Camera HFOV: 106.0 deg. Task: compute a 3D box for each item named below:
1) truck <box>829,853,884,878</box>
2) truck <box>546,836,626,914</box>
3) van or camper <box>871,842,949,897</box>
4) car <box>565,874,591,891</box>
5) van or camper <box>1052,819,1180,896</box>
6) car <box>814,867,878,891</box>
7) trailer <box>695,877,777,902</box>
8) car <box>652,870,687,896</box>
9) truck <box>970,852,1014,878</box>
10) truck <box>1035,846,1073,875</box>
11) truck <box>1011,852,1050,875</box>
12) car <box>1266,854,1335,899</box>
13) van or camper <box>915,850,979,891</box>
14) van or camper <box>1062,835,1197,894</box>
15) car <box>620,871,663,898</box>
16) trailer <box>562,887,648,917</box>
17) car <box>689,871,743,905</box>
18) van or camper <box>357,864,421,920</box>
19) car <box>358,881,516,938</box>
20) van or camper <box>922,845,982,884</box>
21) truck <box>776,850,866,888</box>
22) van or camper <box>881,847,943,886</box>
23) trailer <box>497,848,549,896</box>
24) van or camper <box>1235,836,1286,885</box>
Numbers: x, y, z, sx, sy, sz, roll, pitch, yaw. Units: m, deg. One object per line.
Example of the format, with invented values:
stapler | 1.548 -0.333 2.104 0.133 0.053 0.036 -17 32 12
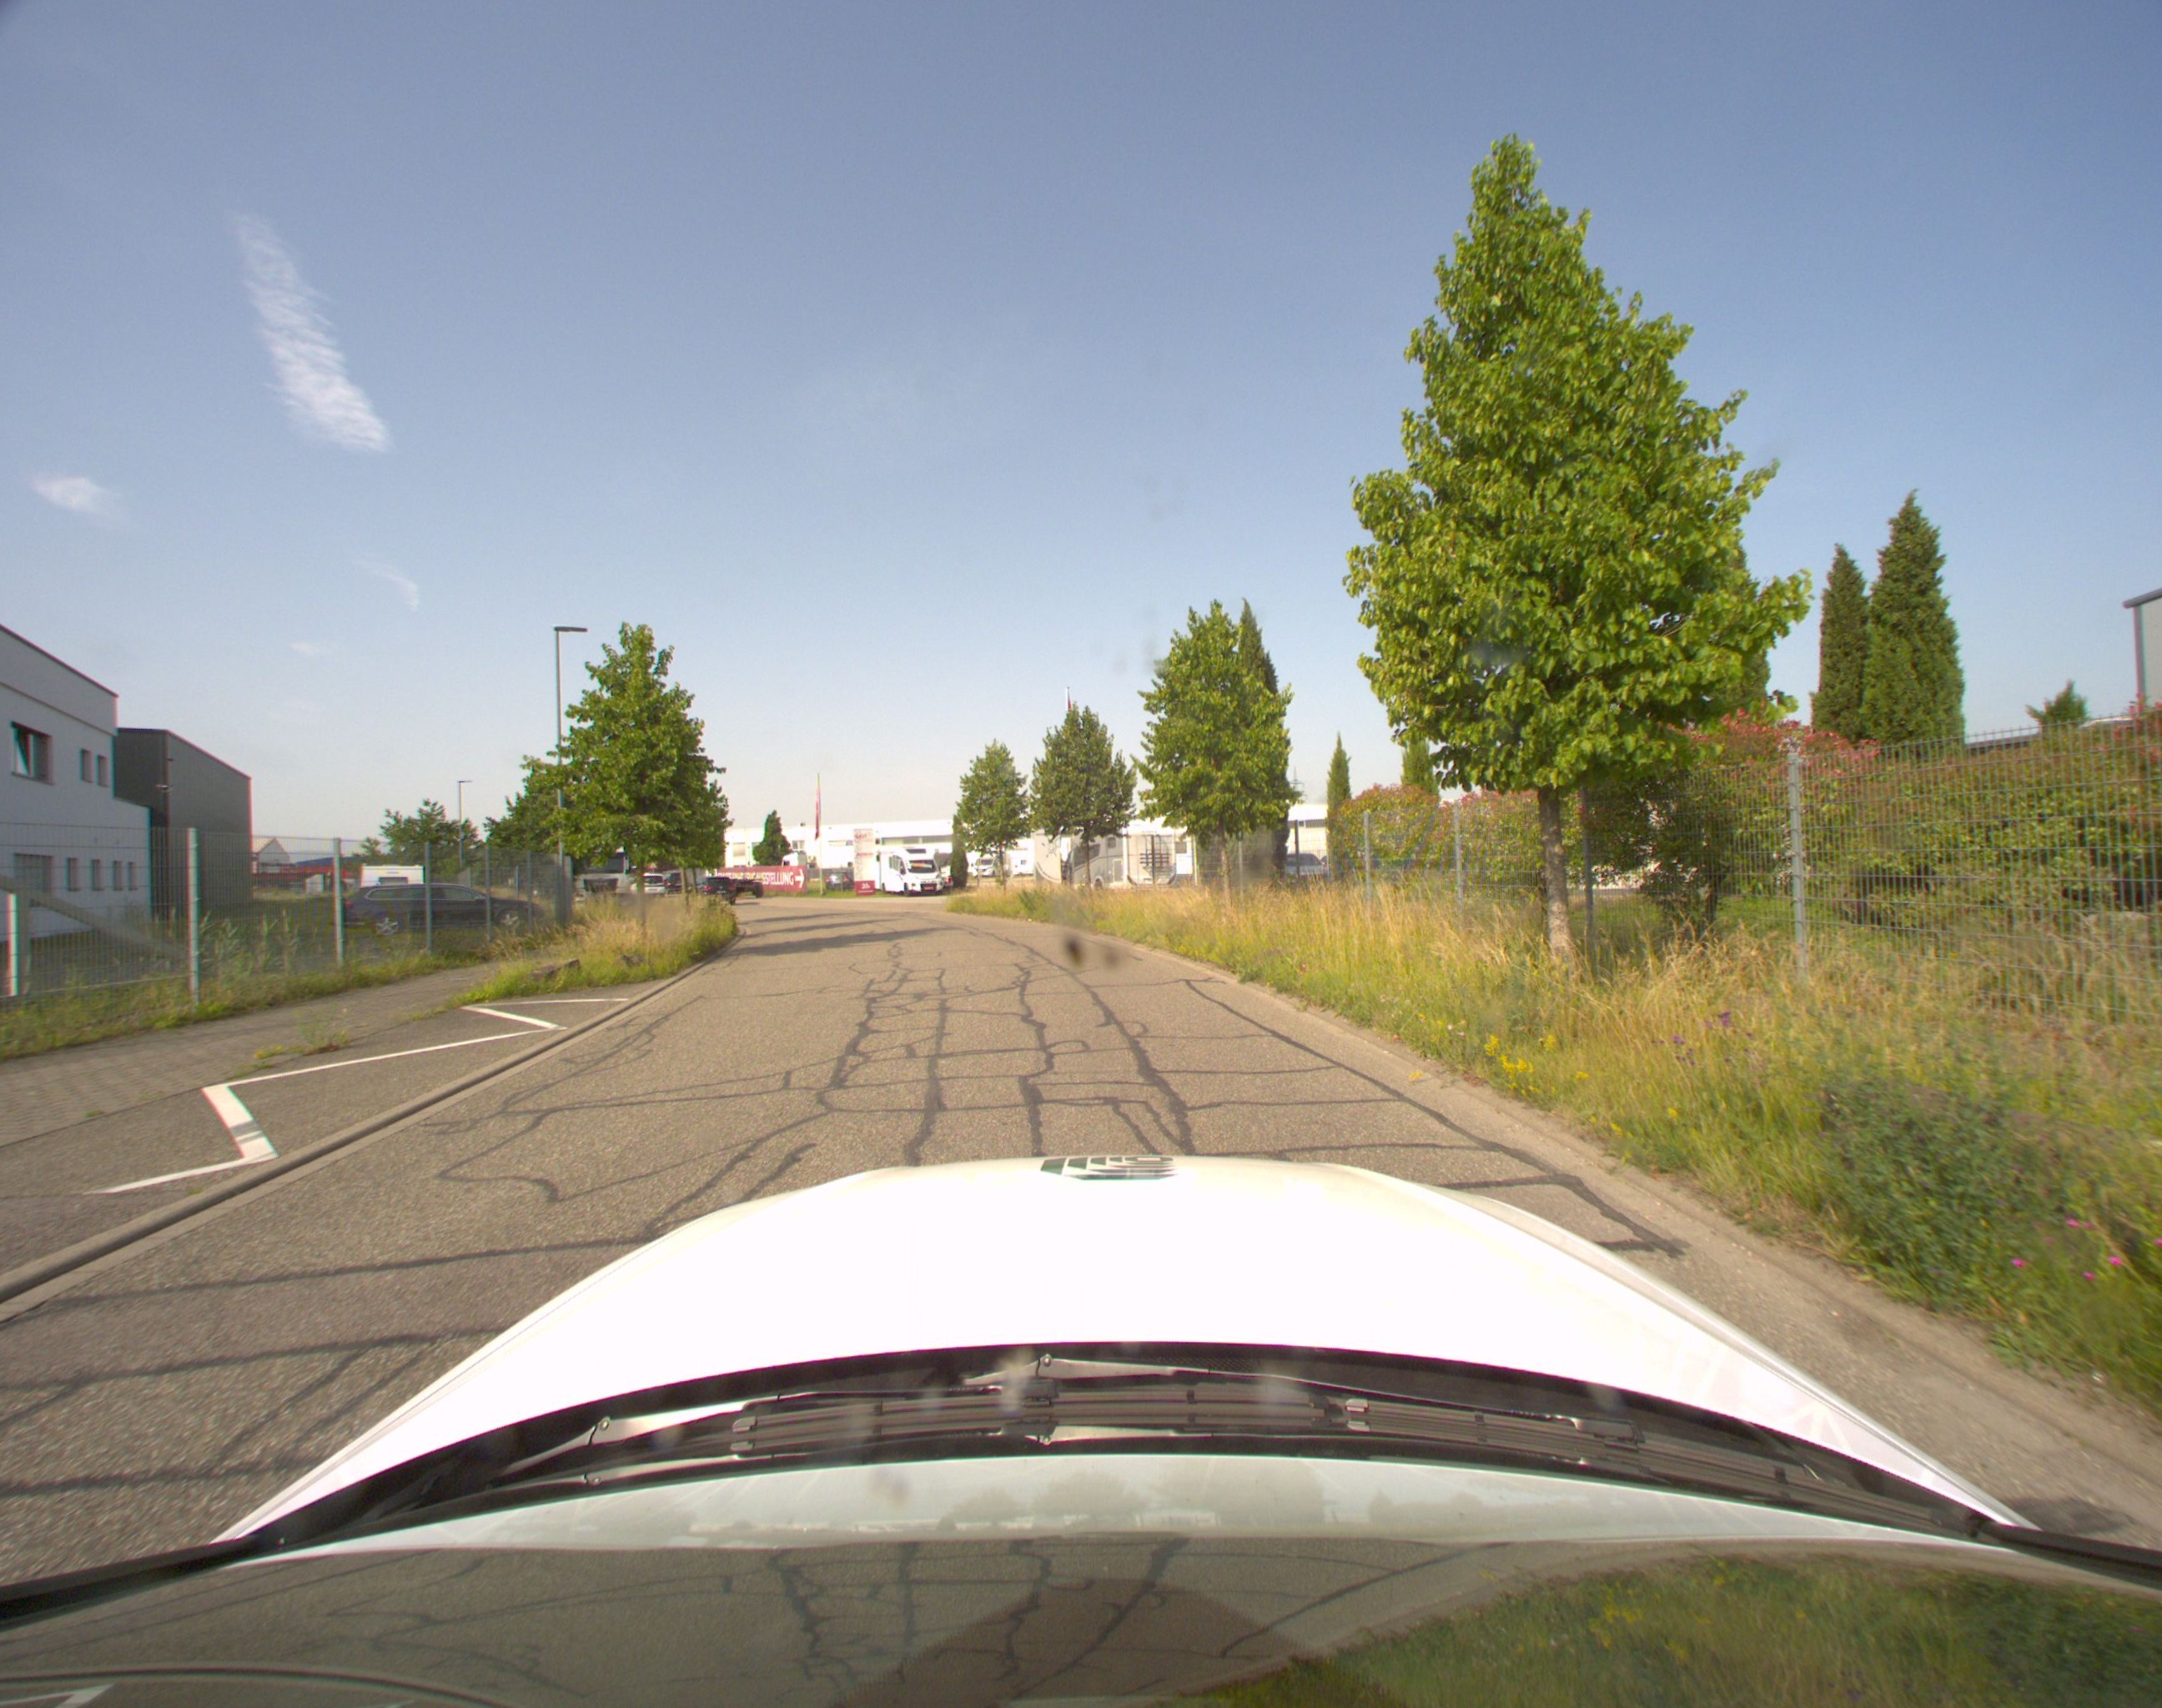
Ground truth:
truck | -23.195 1.139 84.561 2.437 2.471 8.020 -2 0 8
truck | -28.914 1.247 47.218 2.647 3.929 12.772 -1 -1 -37
van or camper | -10.146 0.883 47.718 2.346 2.943 6.903 -1 -1 -30
car | -55.904 3.204 90.472 2.010 1.772 3.954 -1 -1 -39
van or camper | 1.236 0.200 34.069 2.360 2.848 7.283 -1 -1 -24
car | -16.103 1.699 56.009 2.146 1.476 4.022 -2 0 22
trailer | -23.716 2.411 55.652 2.645 1.388 9.345 -4 1 -38
car | -34.928 2.470 69.062 1.833 1.978 3.955 -5 2 -37
truck | -8.995 1.039 82.991 2.437 2.471 8.020 -2 0 8
truck | -2.718 0.668 84.236 2.437 2.826 8.020 -2 0 8
truck | -5.151 0.949 85.231 2.437 2.265 8.020 -2 0 8
car | 8.542 0.839 31.977 1.716 1.643 4.002 0 0 2
van or camper | -9.031 1.040 55.576 2.470 2.559 6.639 -2 0 7
van or camper | 2.668 0.588 45.641 7.233 3.032 2.585 -2 -1 1
car | -33.757 2.345 62.473 2.011 1.899 4.414 -1 -1 -40
trailer | -21.819 2.132 37.211 2.595 1.100 5.140 -2 -1 -39
car | -20.889 1.923 46.573 2.009 1.805 3.956 -2 -1 -36
van or camper | -34.811 1.861 40.944 2.325 2.560 4.894 -1 -1 -41
car | -18.722 1.558 23.765 3.522 1.454 1.578 0 -2 -41
van or camper | -10.960 0.877 69.834 2.934 3.084 7.985 -2 0 7
truck | -29.253 1.720 91.664 9.241 3.972 2.461 -2 -1 4
van or camper | -14.394 0.996 70.170 2.784 3.084 7.985 -2 0 7
trailer | -55.796 1.831 81.224 3.431 4.340 13.760 -1 -1 -38
van or camper | 11.478 0.468 52.612 2.309 2.864 6.618 -2 -1 5
